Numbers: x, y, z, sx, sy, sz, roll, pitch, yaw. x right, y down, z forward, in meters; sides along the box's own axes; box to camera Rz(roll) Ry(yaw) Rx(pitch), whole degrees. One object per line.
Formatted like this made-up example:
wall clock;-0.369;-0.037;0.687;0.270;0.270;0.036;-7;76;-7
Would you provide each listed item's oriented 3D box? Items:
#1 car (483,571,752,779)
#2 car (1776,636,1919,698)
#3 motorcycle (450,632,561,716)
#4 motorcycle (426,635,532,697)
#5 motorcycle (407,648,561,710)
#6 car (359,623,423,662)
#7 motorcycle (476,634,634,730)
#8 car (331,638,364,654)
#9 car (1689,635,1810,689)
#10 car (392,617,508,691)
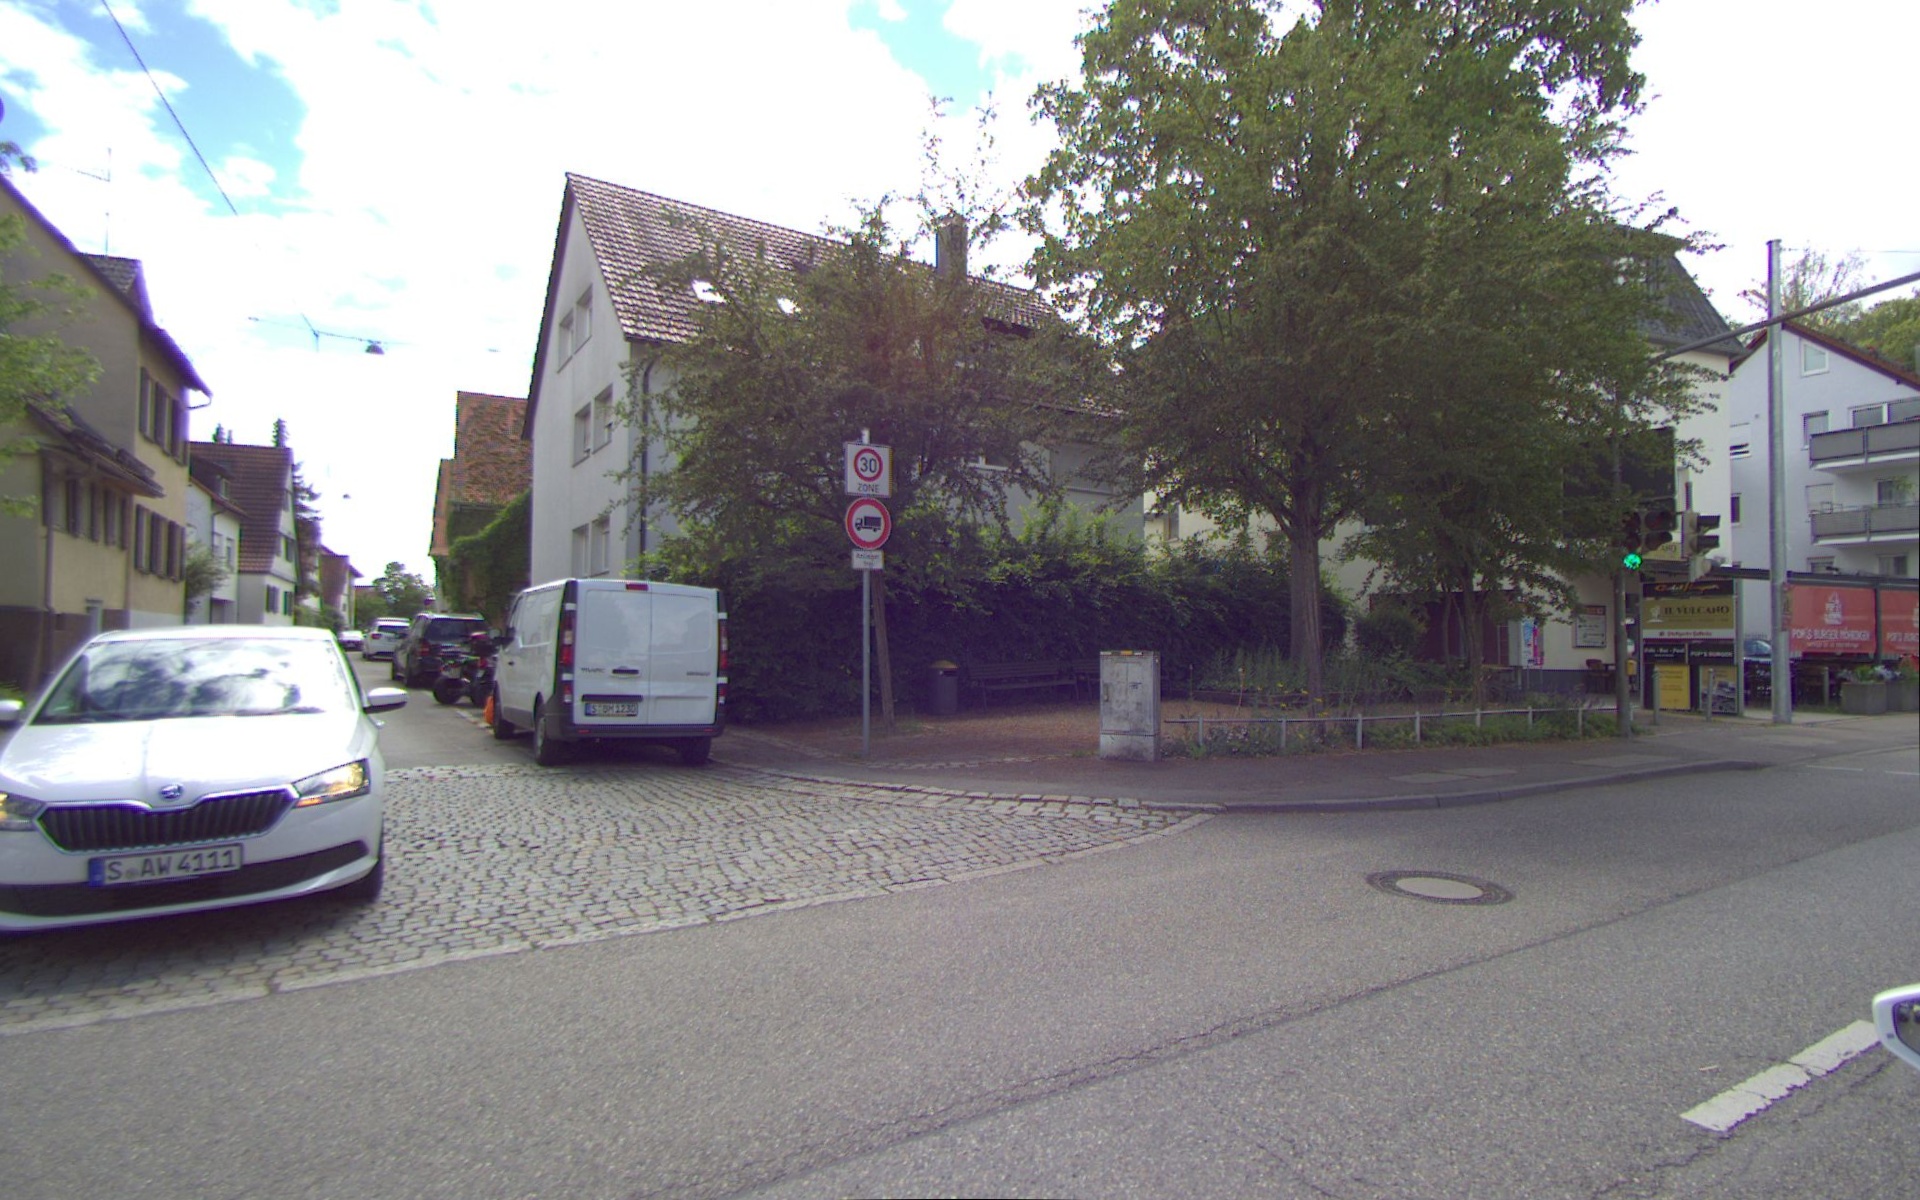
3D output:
car;-4.382;0.793;12.333;2.073;2.035;4.594;1;-2;-33
car;23.062;1.644;25.219;1.786;1.444;3.670;1;-2;-34
motorcycle;-7.731;1.228;17.138;0.675;1.353;1.596;-1;-2;36
motorcycle;-9.994;1.362;20.934;1.937;1.240;0.466;1;-1;-23
motorcycle;-8.803;1.427;18.636;2.323;1.018;1.190;2;-2;-44
car;-21.419;1.548;37.736;1.817;1.387;4.121;1;-2;-33
motorcycle;-6.080;1.207;15.115;2.109;1.350;0.838;2;-2;-29
car;-44.415;3.314;72.943;1.871;1.079;4.127;1;-2;-29
car;22.945;1.793;29.310;1.534;1.489;2.850;0;-3;8
car;-12.293;1.224;24.070;2.017;1.596;4.121;1;-2;-33
